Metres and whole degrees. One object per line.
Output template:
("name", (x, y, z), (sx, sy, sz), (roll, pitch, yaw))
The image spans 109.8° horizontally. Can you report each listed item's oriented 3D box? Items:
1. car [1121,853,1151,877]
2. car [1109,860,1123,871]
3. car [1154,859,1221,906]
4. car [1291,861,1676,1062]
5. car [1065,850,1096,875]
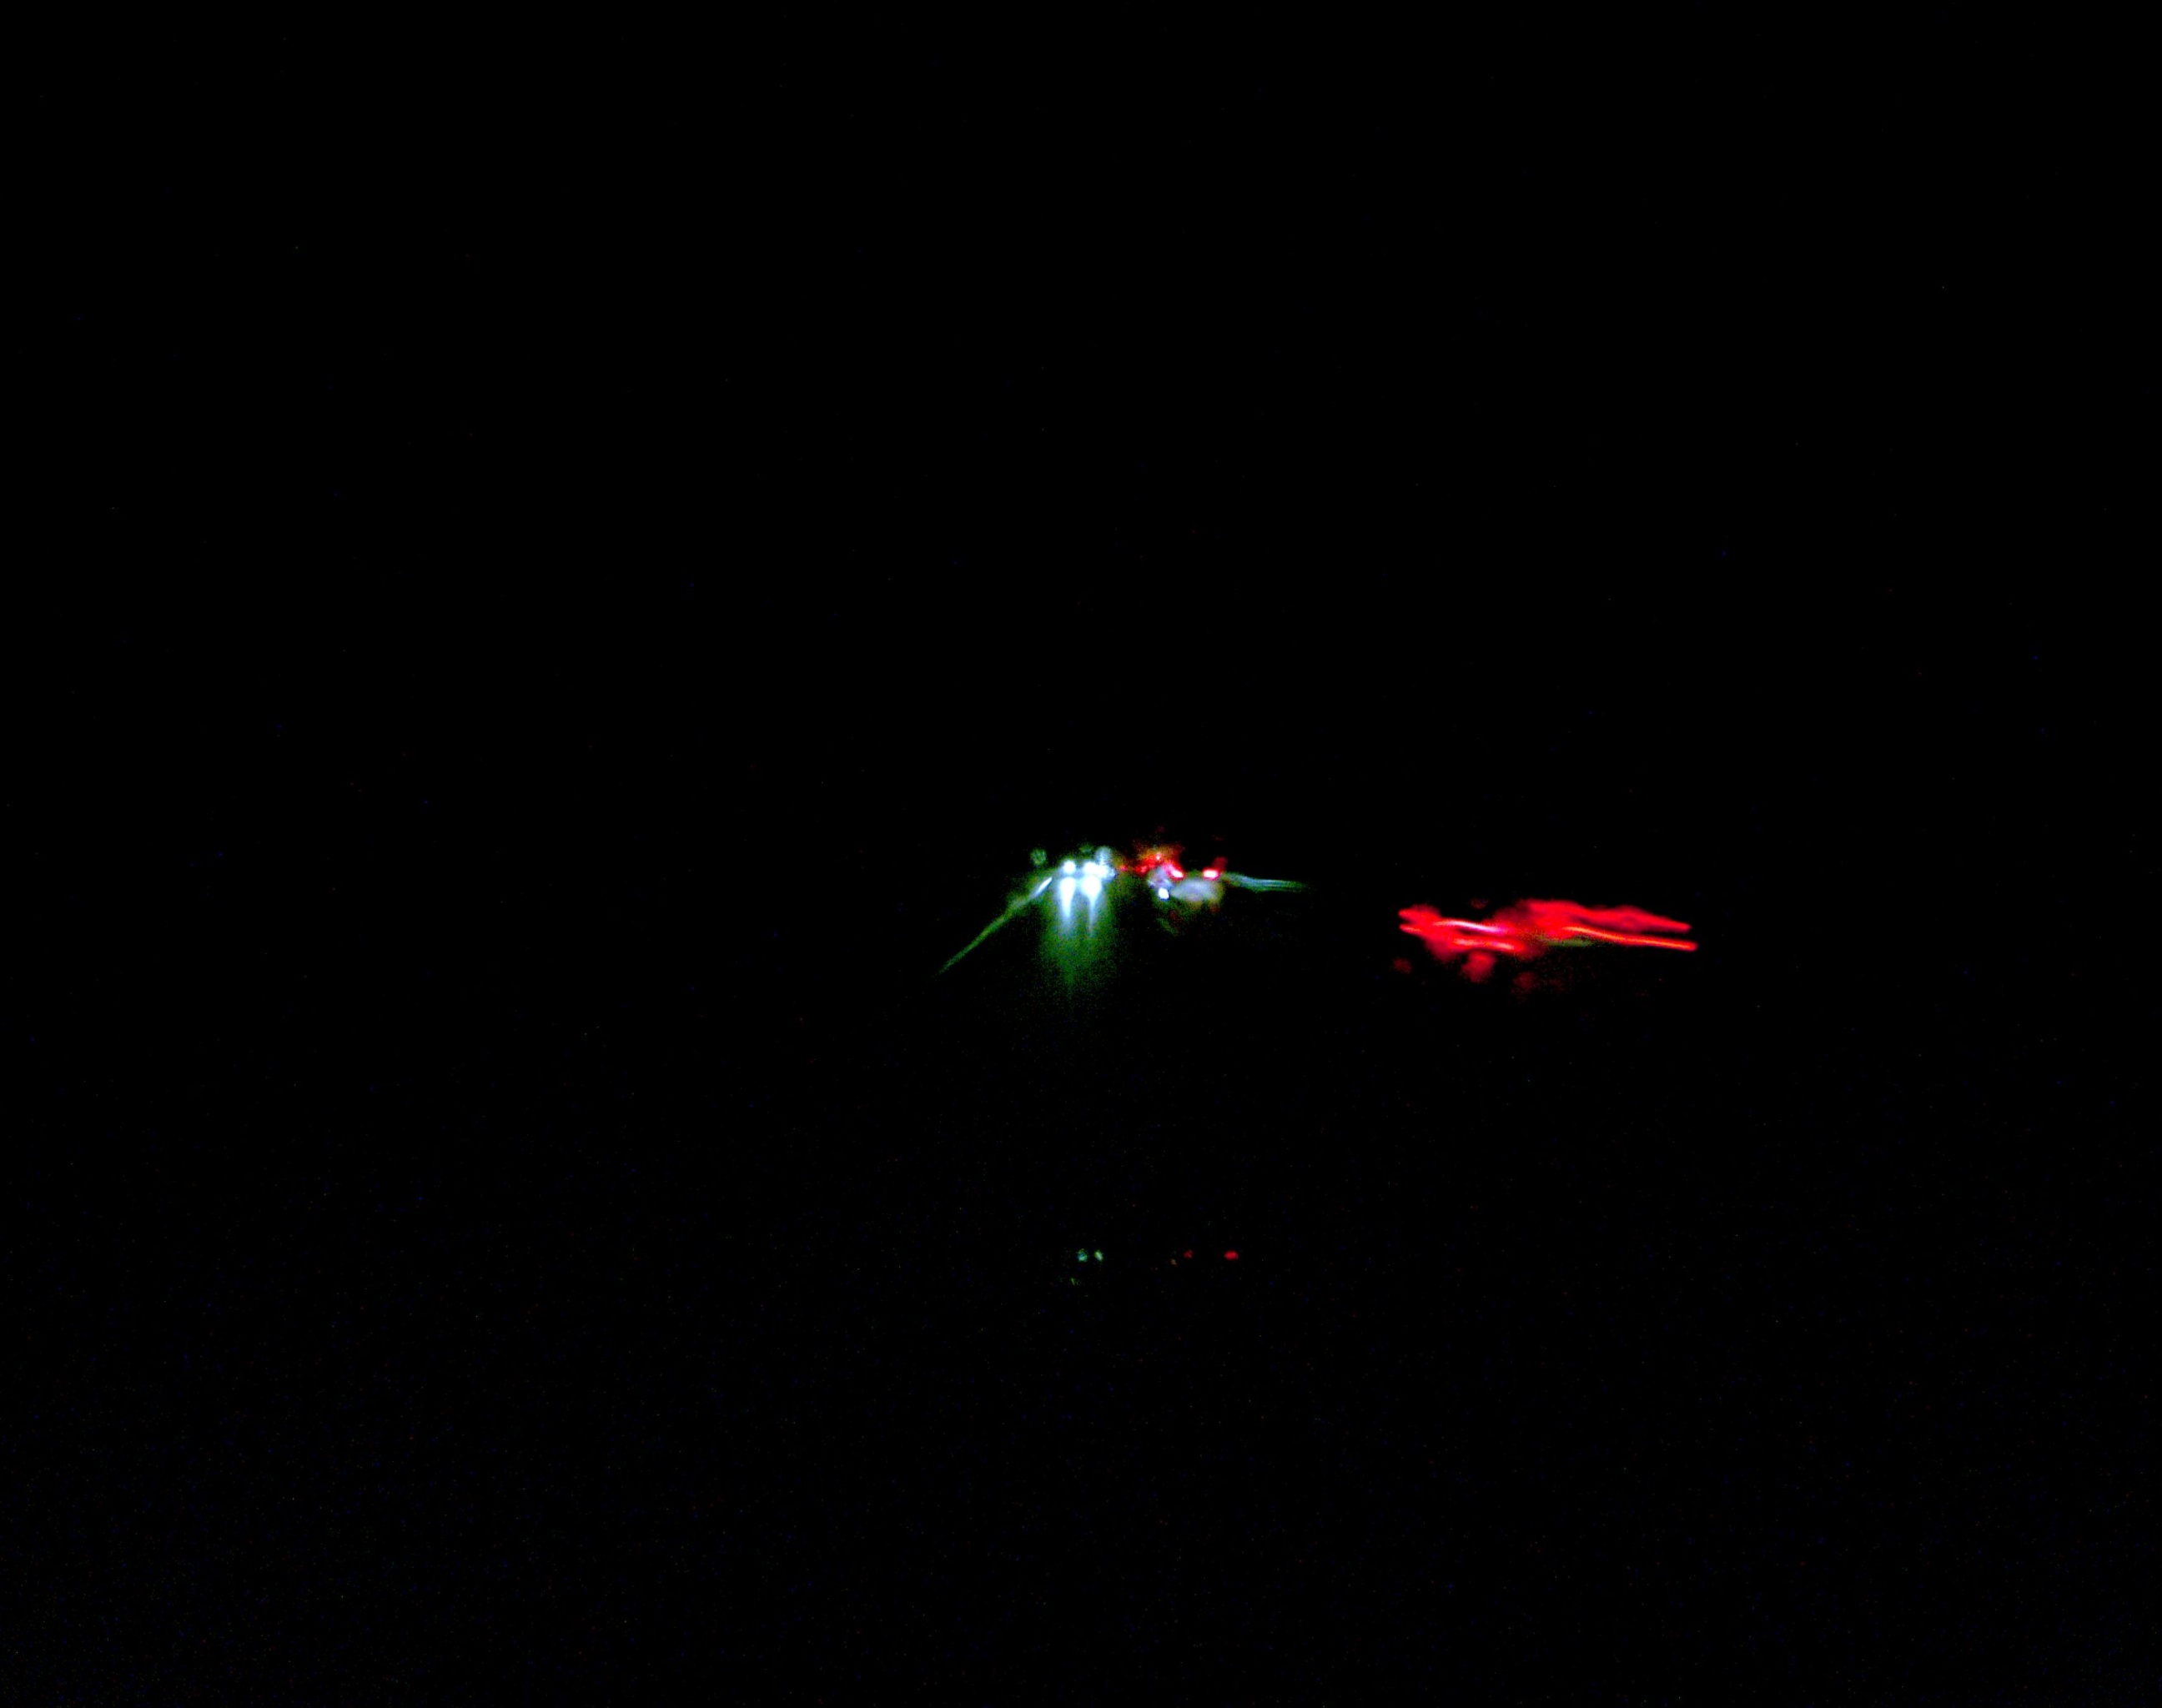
("car", (3.787, 0.737, 53.017), (1.813, 1.590, 4.631), (0, 0, 0))
("car", (5.271, 1.770, 114.804), (1.726, 1.603, 4.001), (1, 0, -2))
("car", (3.474, 0.900, 25.390), (1.649, 1.417, 3.659), (-1, 0, -1))
("car", (3.605, 0.823, 7.772), (1.649, 1.417, 4.122), (-2, 0, -1))
("car", (-0.009, 0.628, 56.826), (1.998, 1.804, 4.002), (2, 0, 4))
